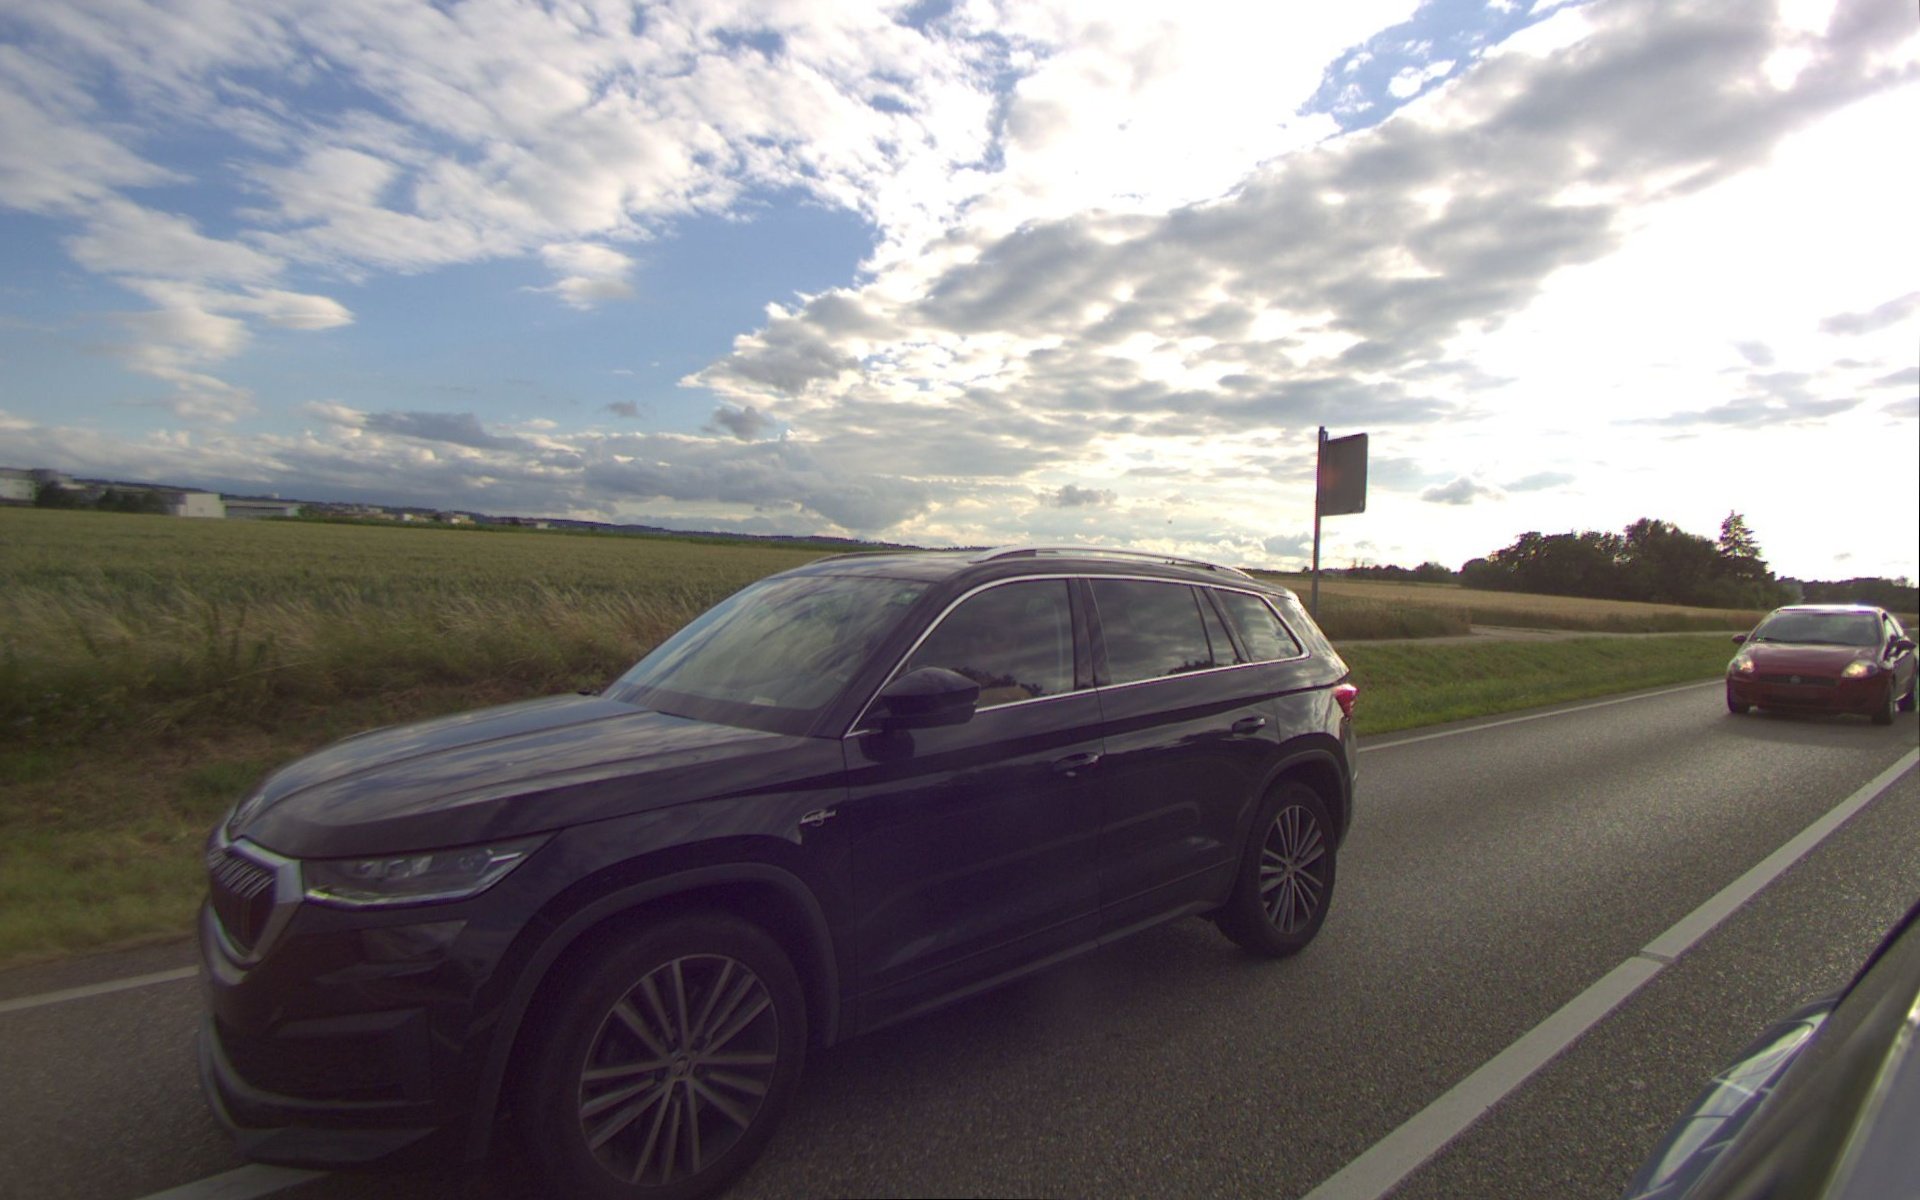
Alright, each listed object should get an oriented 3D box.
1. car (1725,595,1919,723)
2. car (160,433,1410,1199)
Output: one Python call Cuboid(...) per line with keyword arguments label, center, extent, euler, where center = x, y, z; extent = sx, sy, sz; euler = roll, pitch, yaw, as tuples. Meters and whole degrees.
Cuboid(label="car", center=(11.979, 0.688, 13.805), extent=(3.840, 1.475, 1.710), euler=(-1, 0, -41))
Cuboid(label="car", center=(-0.207, 0.552, 3.914), extent=(4.477, 1.730, 1.839), euler=(-1, 0, -41))
